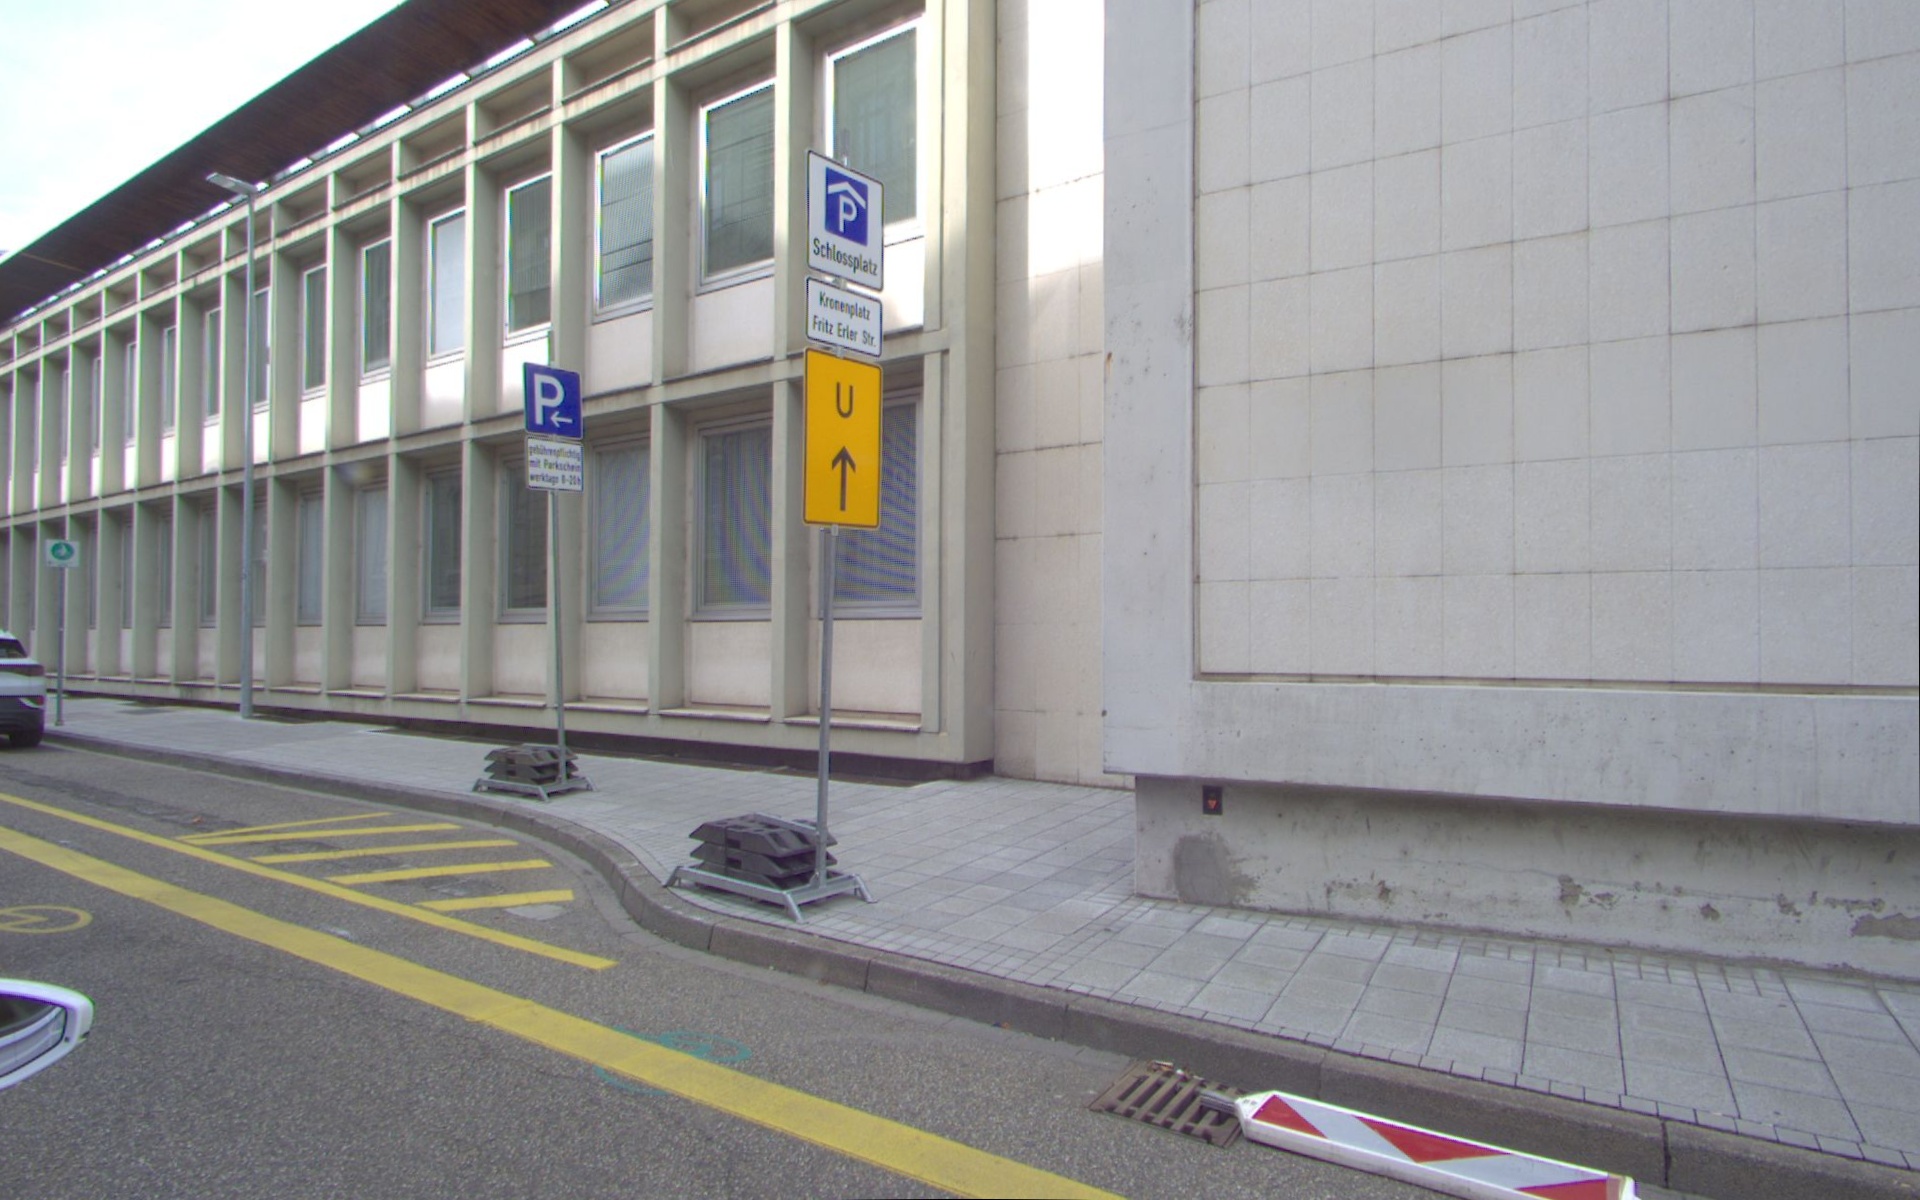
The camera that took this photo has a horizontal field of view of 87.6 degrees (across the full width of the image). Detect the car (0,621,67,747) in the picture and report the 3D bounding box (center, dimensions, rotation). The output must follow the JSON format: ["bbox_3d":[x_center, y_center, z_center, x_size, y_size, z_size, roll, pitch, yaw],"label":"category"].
[{"bbox_3d":[-14.377,1.103,13.959,4.452,1.624,1.857,-1,-5,35],"label":"car"}]
